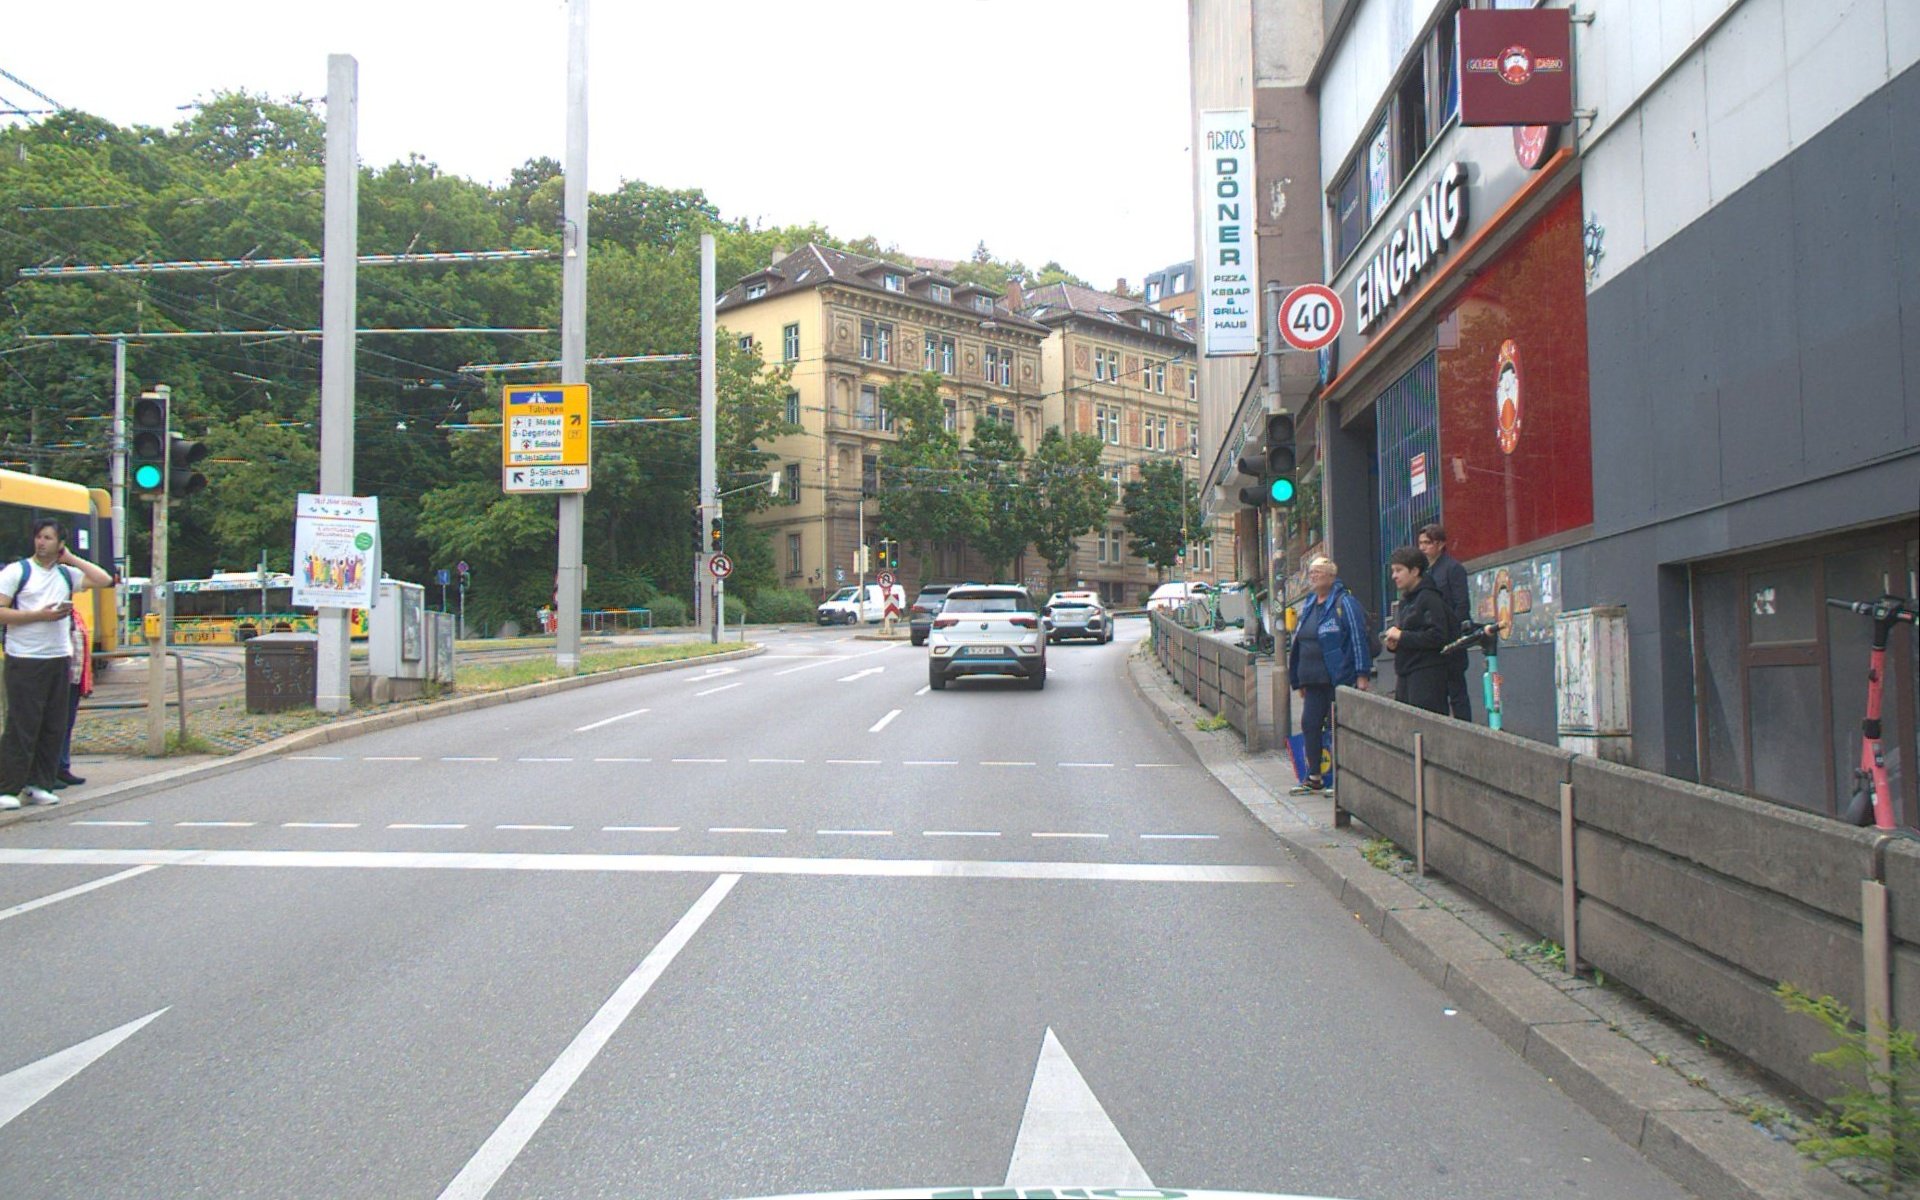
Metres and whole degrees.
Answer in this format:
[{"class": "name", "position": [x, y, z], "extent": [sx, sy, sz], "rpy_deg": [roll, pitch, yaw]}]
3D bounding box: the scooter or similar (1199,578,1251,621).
[{"class": "scooter or similar", "position": [7.746, -0.021, 48.300], "extent": [1.423, 1.203, 0.578], "rpy_deg": [-1, 0, -26]}]

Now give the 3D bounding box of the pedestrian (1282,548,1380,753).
[{"class": "pedestrian", "position": [3.200, 0.425, 14.306], "extent": [0.550, 1.679, 0.591], "rpy_deg": [-6, 0, 2]}]

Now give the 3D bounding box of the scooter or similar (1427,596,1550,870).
[{"class": "scooter or similar", "position": [2.621, 0.630, 8.255], "extent": [0.346, 1.298, 0.813], "rpy_deg": [-1, 0, 1]}]

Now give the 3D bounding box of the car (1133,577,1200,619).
[{"class": "car", "position": [7.742, -0.058, 61.734], "extent": [1.897, 1.532, 3.808], "rpy_deg": [0, 0, 16]}]

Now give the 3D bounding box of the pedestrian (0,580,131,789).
[{"class": "pedestrian", "position": [-6.647, 0.628, 12.276], "extent": [0.564, 1.490, 0.676], "rpy_deg": [-3, -4, 17]}]

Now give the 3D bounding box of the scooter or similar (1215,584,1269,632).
[{"class": "scooter or similar", "position": [7.959, 0.212, 46.660], "extent": [1.423, 1.276, 0.552], "rpy_deg": [-3, 0, -26]}]

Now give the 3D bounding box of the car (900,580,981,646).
[{"class": "car", "position": [-0.507, 0.353, 46.726], "extent": [1.800, 1.770, 4.003], "rpy_deg": [0, 0, 6]}]

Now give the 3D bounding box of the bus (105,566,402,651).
[{"class": "bus", "position": [-28.970, 0.364, 67.920], "extent": [11.264, 3.082, 3.393], "rpy_deg": [-2, 0, 12]}]

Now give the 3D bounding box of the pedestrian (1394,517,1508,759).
[{"class": "pedestrian", "position": [3.828, 0.286, 12.929], "extent": [0.711, 1.840, 0.654], "rpy_deg": [0, 0, 2]}]

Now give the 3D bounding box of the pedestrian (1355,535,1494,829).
[{"class": "pedestrian", "position": [2.965, 0.509, 10.602], "extent": [0.722, 1.825, 0.655], "rpy_deg": [0, 0, 2]}]

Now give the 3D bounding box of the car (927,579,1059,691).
[{"class": "car", "position": [0.539, 0.524, 26.149], "extent": [1.898, 1.594, 4.047], "rpy_deg": [-1, 0, 2]}]

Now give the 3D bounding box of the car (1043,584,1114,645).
[{"class": "car", "position": [3.259, 0.406, 45.997], "extent": [1.863, 1.601, 3.835], "rpy_deg": [0, -1, 3]}]

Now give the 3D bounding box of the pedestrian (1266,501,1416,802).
[{"class": "pedestrian", "position": [2.740, 0.362, 11.970], "extent": [0.927, 2.099, 0.779], "rpy_deg": [0, 0, 2]}]

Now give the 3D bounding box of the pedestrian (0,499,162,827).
[{"class": "pedestrian", "position": [-6.218, 0.448, 11.275], "extent": [0.945, 2.103, 1.032], "rpy_deg": [-3, -4, 17]}]

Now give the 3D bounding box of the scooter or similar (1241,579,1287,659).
[{"class": "scooter or similar", "position": [4.993, 0.304, 27.213], "extent": [0.617, 1.271, 1.334], "rpy_deg": [-1, 0, 5]}]

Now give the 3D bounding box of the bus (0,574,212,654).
[{"class": "bus", "position": [-37.569, 0.626, 69.735], "extent": [11.083, 3.097, 3.327], "rpy_deg": [-2, 0, 12]}]

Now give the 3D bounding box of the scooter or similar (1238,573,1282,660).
[{"class": "scooter or similar", "position": [5.331, 0.294, 29.410], "extent": [0.654, 1.501, 1.179], "rpy_deg": [-1, 0, 5]}]

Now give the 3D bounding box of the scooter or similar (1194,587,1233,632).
[{"class": "scooter or similar", "position": [6.954, 0.260, 45.297], "extent": [0.995, 1.203, 0.373], "rpy_deg": [-1, 0, -26]}]

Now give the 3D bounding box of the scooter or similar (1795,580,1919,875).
[{"class": "scooter or similar", "position": [4.355, 0.560, 7.782], "extent": [0.418, 1.298, 0.981], "rpy_deg": [-1, 0, 6]}]

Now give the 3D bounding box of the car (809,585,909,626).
[{"class": "car", "position": [-4.819, 0.252, 79.349], "extent": [1.963, 1.882, 4.966], "rpy_deg": [0, 0, 40]}]
